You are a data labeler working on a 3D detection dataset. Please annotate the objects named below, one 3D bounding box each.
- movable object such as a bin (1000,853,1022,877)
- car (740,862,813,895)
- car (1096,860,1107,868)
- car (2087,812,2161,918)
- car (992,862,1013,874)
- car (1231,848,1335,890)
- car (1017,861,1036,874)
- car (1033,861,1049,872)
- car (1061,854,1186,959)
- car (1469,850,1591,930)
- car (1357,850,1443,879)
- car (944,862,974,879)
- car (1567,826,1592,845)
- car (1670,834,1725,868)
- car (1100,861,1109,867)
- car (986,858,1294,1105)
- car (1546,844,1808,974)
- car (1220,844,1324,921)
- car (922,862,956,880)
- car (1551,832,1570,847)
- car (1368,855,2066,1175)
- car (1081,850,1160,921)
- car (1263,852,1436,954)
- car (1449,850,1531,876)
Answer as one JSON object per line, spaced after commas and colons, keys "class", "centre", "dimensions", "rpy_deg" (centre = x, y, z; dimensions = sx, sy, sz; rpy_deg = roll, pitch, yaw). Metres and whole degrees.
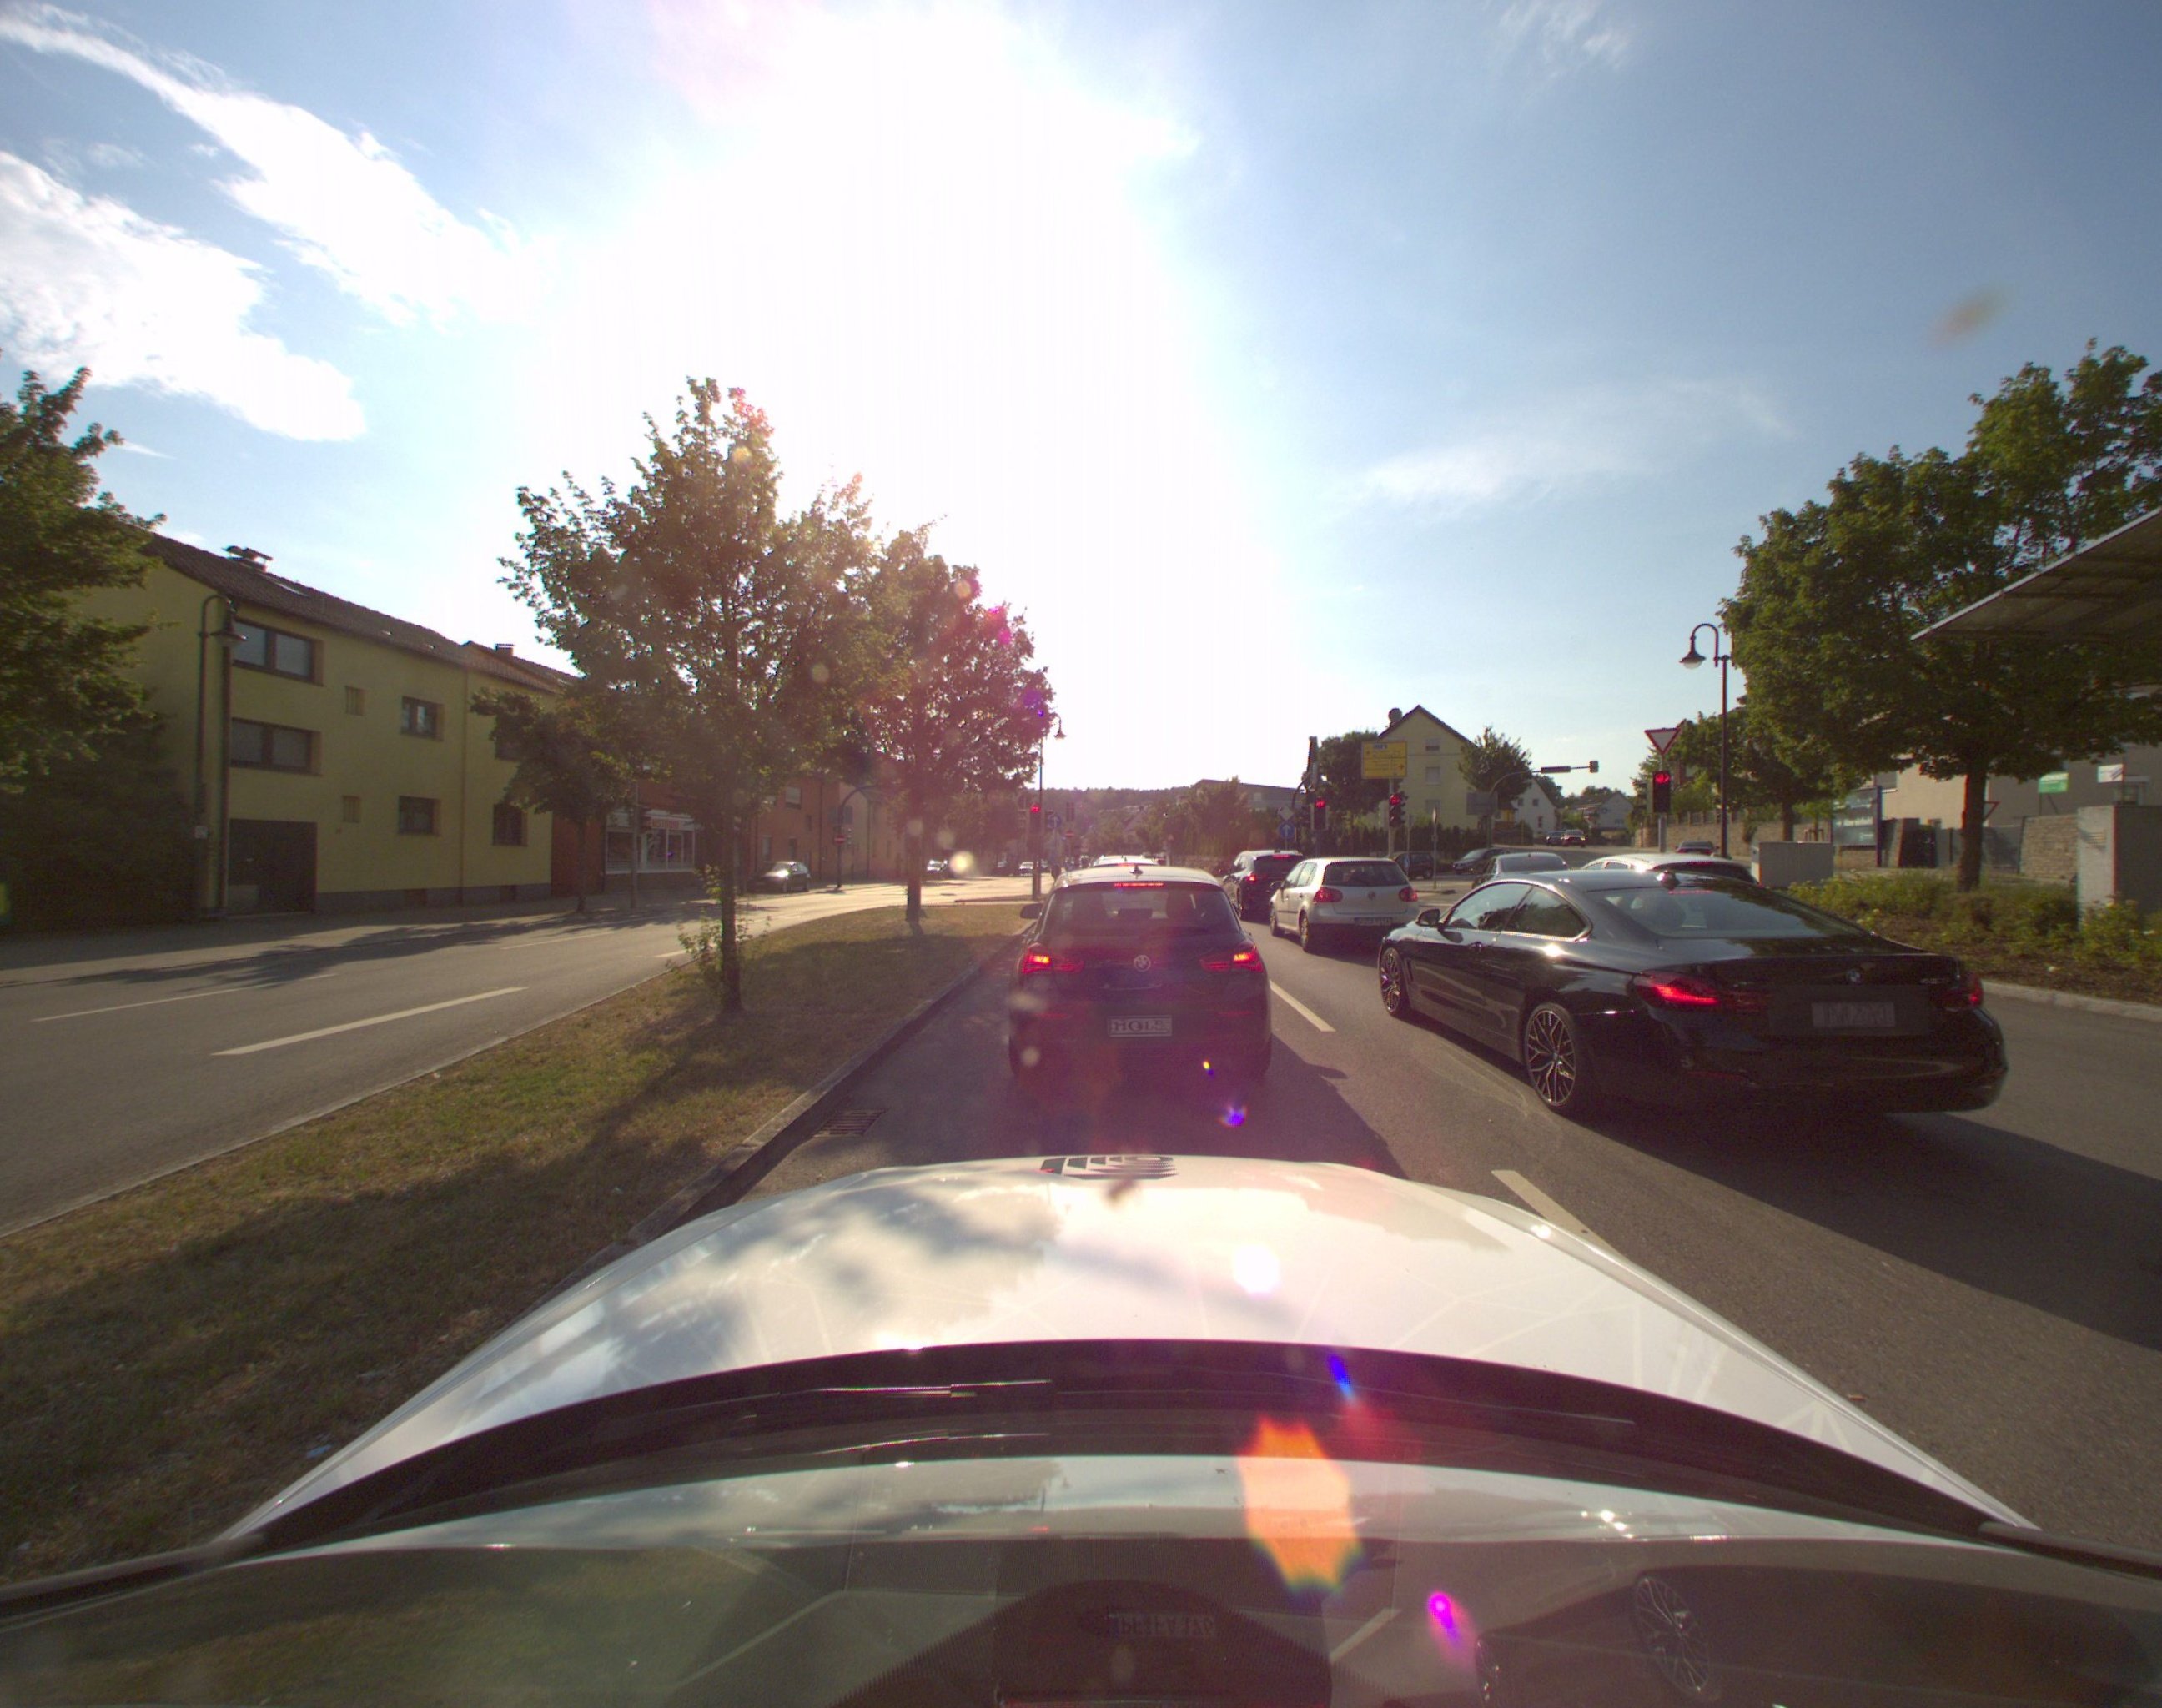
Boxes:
{"class": "movable object such as a bin", "centre": [-7.425, 1.190, 86.987], "dimensions": [1.729, 2.442, 4.452], "rpy_deg": [-1, 0, 3]}
{"class": "car", "centre": [-14.138, 1.109, 38.037], "dimensions": [1.730, 1.301, 4.002], "rpy_deg": [4, 0, 2]}
{"class": "car", "centre": [3.996, 1.922, 157.513], "dimensions": [1.729, 1.301, 3.804], "rpy_deg": [4, 0, 5]}
{"class": "car", "centre": [18.495, 0.155, 12.391], "dimensions": [3.793, 1.632, 1.784], "rpy_deg": [0, 0, 10]}
{"class": "car", "centre": [-9.352, 1.645, 97.536], "dimensions": [1.729, 1.301, 3.804], "rpy_deg": [4, 0, 5]}
{"class": "car", "centre": [8.825, 0.646, 35.526], "dimensions": [4.165, 1.680, 1.981], "rpy_deg": [-2, 0, 20]}
{"class": "car", "centre": [-6.578, 1.619, 98.599], "dimensions": [1.729, 1.301, 3.804], "rpy_deg": [4, 0, 5]}
{"class": "car", "centre": [-5.508, 1.715, 112.370], "dimensions": [1.729, 1.301, 3.804], "rpy_deg": [4, 0, 5]}
{"class": "car", "centre": [0.720, 0.776, 14.117], "dimensions": [1.781, 1.494, 4.283], "rpy_deg": [-2, 0, 2]}
{"class": "car", "centre": [9.883, 0.710, 18.243], "dimensions": [1.642, 1.542, 4.420], "rpy_deg": [-2, 0, 19]}
{"class": "car", "centre": [17.346, 0.566, 44.365], "dimensions": [3.974, 1.489, 1.848], "rpy_deg": [0, 0, -1]}
{"class": "car", "centre": [-11.049, 1.464, 73.862], "dimensions": [1.729, 1.301, 4.005], "rpy_deg": [4, 0, 5]}
{"class": "car", "centre": [46.598, -1.718, 76.219], "dimensions": [1.825, 1.641, 4.458], "rpy_deg": [0, 0, 29]}
{"class": "car", "centre": [32.855, -0.165, 43.346], "dimensions": [1.946, 1.680, 4.241], "rpy_deg": [-2, 0, 42]}
{"class": "car", "centre": [5.162, 2.236, 180.947], "dimensions": [1.729, 1.301, 3.804], "rpy_deg": [4, 0, 5]}
{"class": "car", "centre": [0.443, 0.768, 6.973], "dimensions": [1.781, 1.397, 4.283], "rpy_deg": [-2, 0, 2]}
{"class": "car", "centre": [8.112, 0.667, 11.470], "dimensions": [1.608, 1.542, 3.326], "rpy_deg": [-2, 0, 9]}
{"class": "car", "centre": [4.570, 0.646, 20.050], "dimensions": [1.755, 1.656, 3.905], "rpy_deg": [-2, 0, 2]}
{"class": "car", "centre": [-11.745, 1.419, 67.599], "dimensions": [1.728, 1.301, 4.006], "rpy_deg": [4, 0, 6]}
{"class": "car", "centre": [57.473, -1.710, 97.565], "dimensions": [1.824, 1.739, 4.814], "rpy_deg": [-1, 0, 31]}
{"class": "car", "centre": [3.621, 0.735, 5.828], "dimensions": [1.755, 1.397, 4.283], "rpy_deg": [-2, 0, 2]}
{"class": "car", "centre": [1.021, 0.736, 21.156], "dimensions": [1.781, 1.594, 4.283], "rpy_deg": [-2, 0, 2]}
{"class": "car", "centre": [4.323, 0.712, 13.768], "dimensions": [1.755, 1.426, 3.905], "rpy_deg": [-2, 0, 2]}
{"class": "car", "centre": [24.117, 0.509, 48.090], "dimensions": [3.983, 1.489, 1.844], "rpy_deg": [0, 0, -7]}
